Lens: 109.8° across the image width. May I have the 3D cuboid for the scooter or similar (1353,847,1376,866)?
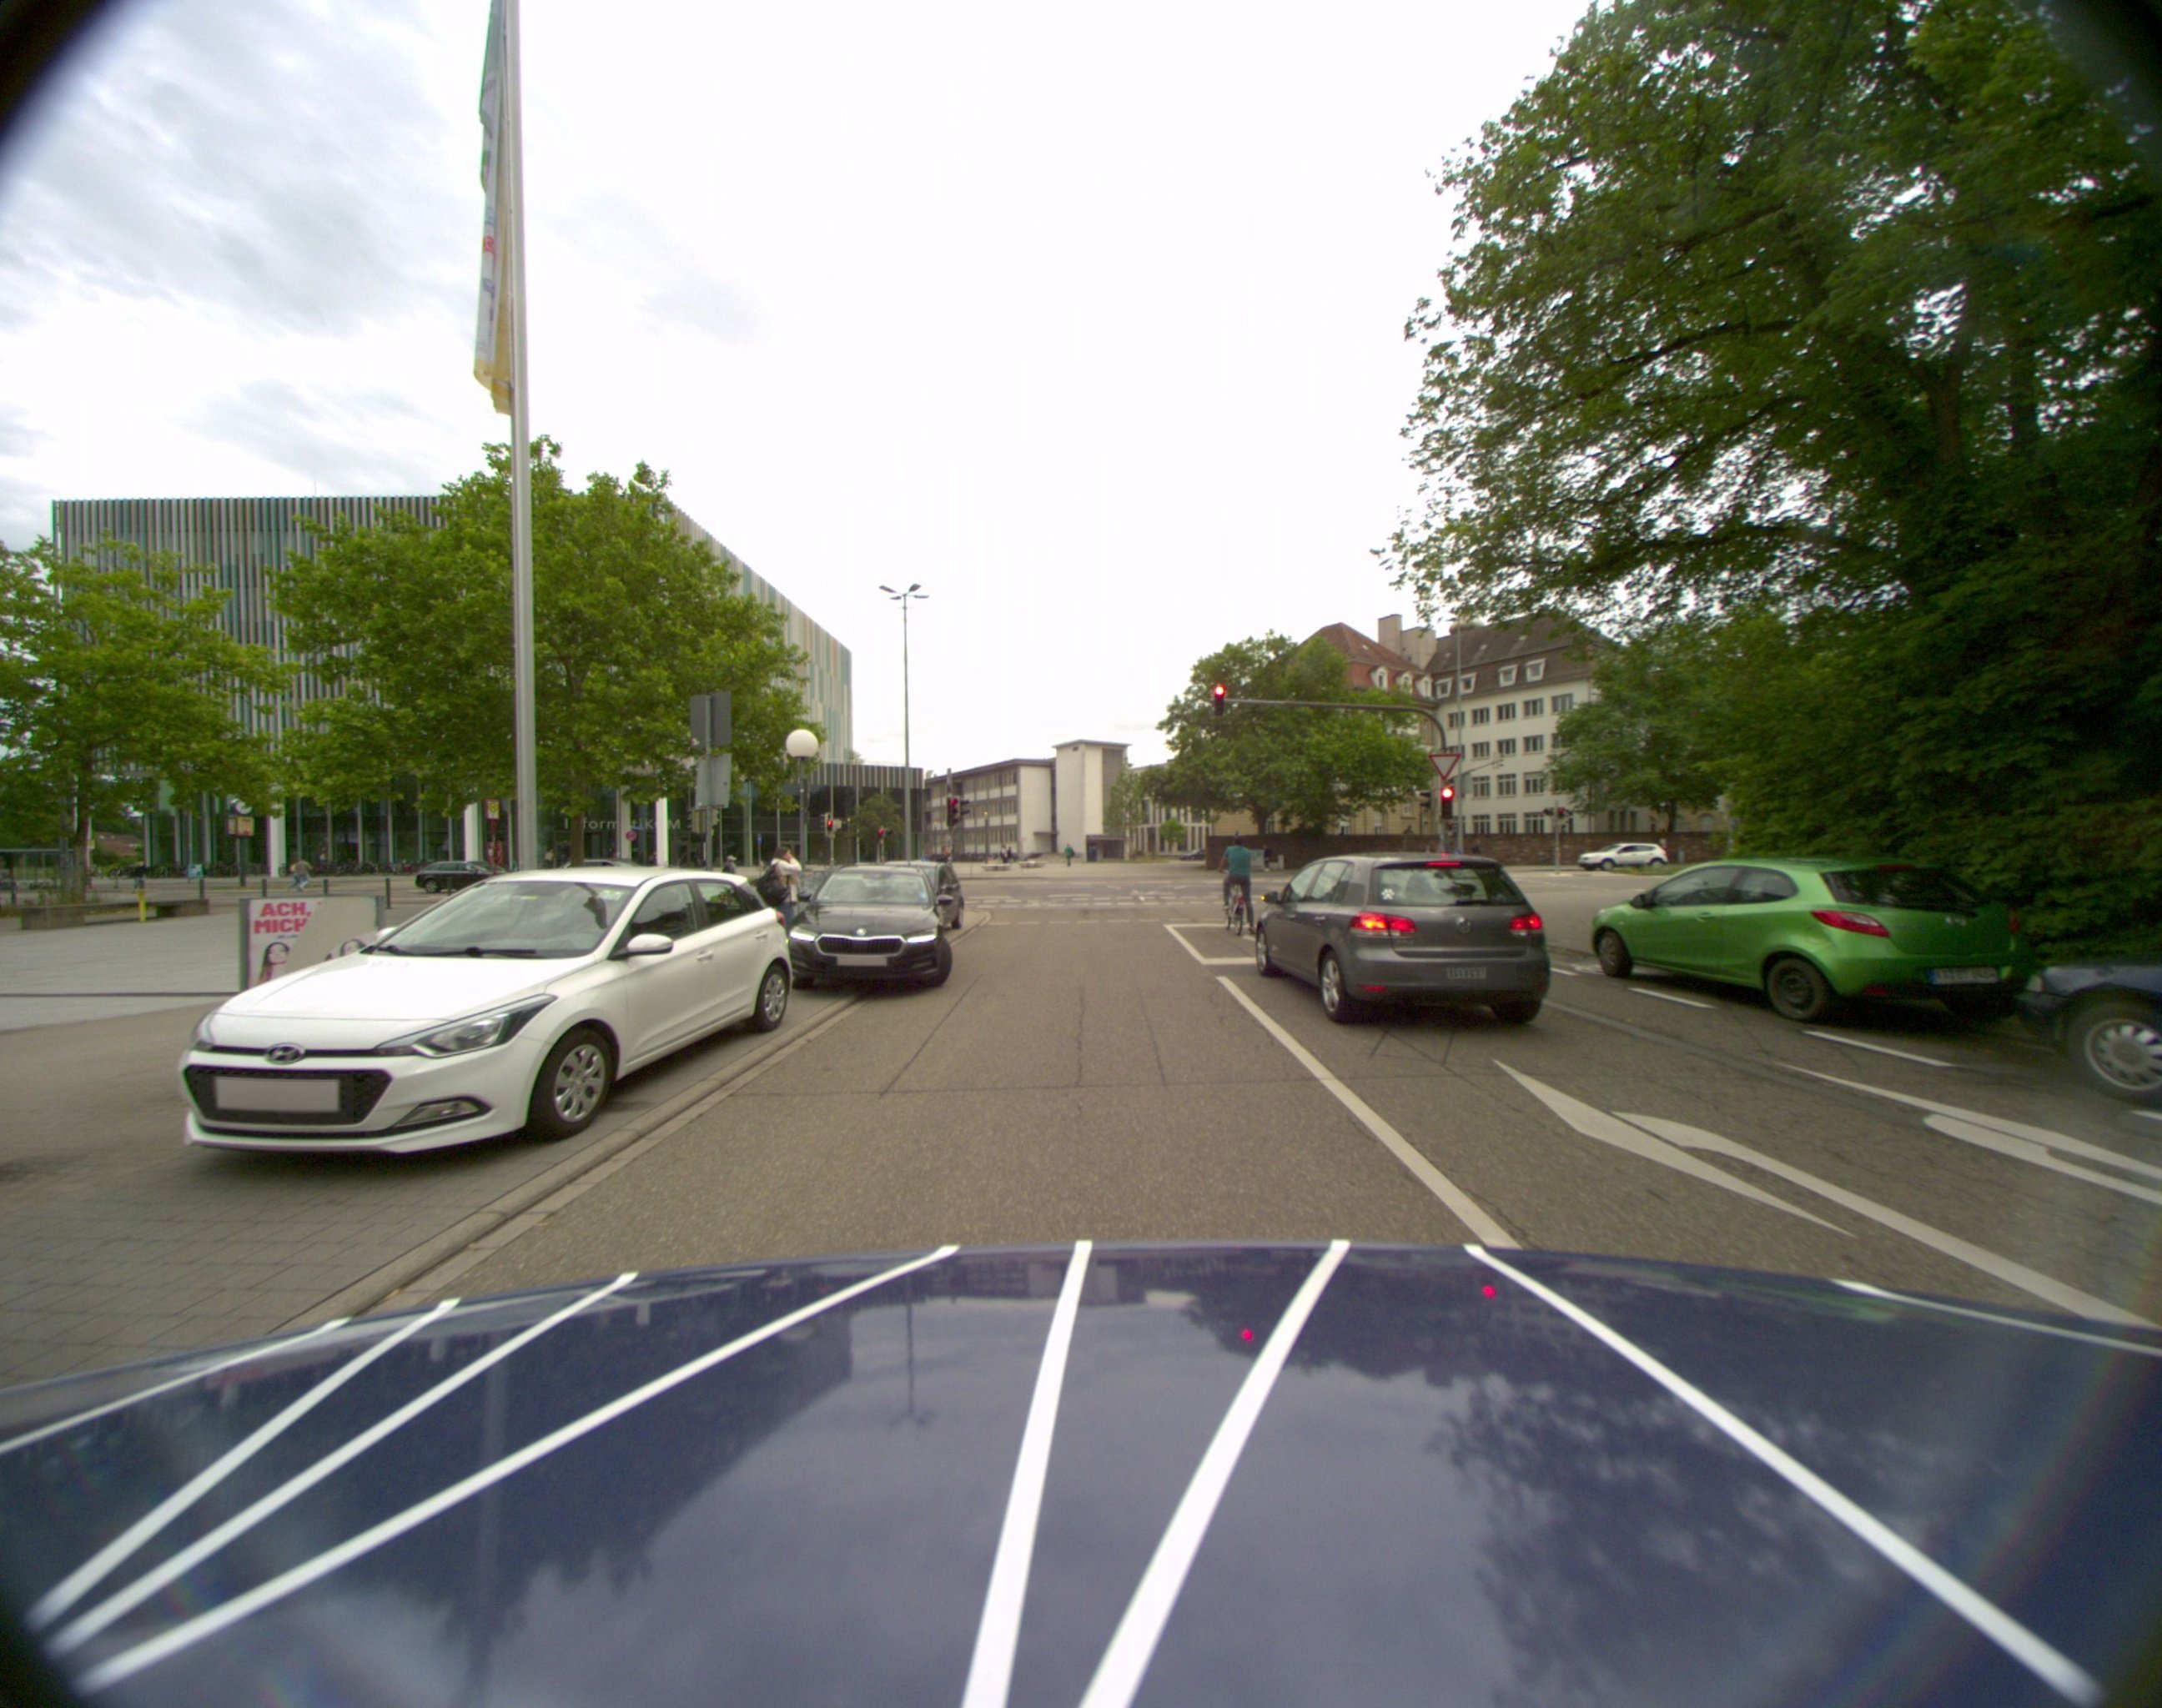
[{"bbox_3d":[19.053,0.166,51.077,1.410,1.223,0.496,0,3,20],"label":"scooter or similar"}]

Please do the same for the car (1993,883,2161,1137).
[{"bbox_3d":[6.953,0.925,2.942,1.801,1.400,4.337,0,1,4],"label":"car"}]

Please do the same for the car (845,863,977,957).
[{"bbox_3d":[-3.267,1.000,15.348,1.626,1.493,4.105,1,1,1],"label":"car"}]

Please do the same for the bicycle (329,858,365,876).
[{"bbox_3d":[-54.620,0.951,56.562,0.628,1.251,2.104,-1,1,-1],"label":"bicycle"}]

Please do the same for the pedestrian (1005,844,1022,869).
[{"bbox_3d":[-4.946,0.187,55.904,0.848,1.778,0.892,-2,1,-41],"label":"pedestrian"}]

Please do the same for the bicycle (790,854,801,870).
[{"bbox_3d":[-20.523,0.566,54.609,0.484,1.039,1.779,-1,2,-28],"label":"bicycle"}]

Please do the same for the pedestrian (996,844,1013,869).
[{"bbox_3d":[-5.581,0.170,55.432,0.848,1.778,0.892,-1,1,-42],"label":"pedestrian"}]

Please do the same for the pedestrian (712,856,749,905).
[{"bbox_3d":[-11.731,0.886,25.470,0.756,1.617,0.794,-1,1,15],"label":"pedestrian"}]

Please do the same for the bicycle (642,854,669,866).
[{"bbox_3d":[-32.730,0.448,58.473,0.483,0.920,1.919,0,1,18],"label":"bicycle"}]

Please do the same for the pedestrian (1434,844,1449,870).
[{"bbox_3d":[23.006,0.189,48.497,0.642,1.684,0.779,-1,2,6],"label":"pedestrian"}]

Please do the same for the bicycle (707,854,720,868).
[{"bbox_3d":[-28.262,0.555,58.417,0.485,1.039,1.911,-2,2,-38],"label":"bicycle"}]

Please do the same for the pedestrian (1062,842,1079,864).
[{"bbox_3d":[-0.814,-0.076,59.021,0.907,1.705,0.949,-2,2,-31],"label":"pedestrian"}]

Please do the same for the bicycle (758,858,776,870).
[{"bbox_3d":[-25.009,0.806,60.537,2.004,0.931,0.485,1,2,41],"label":"bicycle"}]

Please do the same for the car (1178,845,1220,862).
[{"bbox_3d":[13.745,-0.064,88.605,4.409,1.570,1.998,-2,-9,-33],"label":"car"}]

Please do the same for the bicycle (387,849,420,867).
[{"bbox_3d":[-50.749,0.322,56.963,0.628,1.251,2.105,-2,-2,-1],"label":"bicycle"}]

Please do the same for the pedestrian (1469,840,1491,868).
[{"bbox_3d":[25.946,-0.001,49.443,1.006,1.778,0.757,-1,1,0],"label":"pedestrian"}]

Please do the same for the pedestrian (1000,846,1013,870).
[{"bbox_3d":[-5.256,0.301,53.749,0.619,1.656,0.623,-2,1,-40],"label":"pedestrian"}]

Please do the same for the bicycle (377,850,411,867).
[{"bbox_3d":[-51.414,0.342,56.914,0.628,1.251,2.105,-2,-2,-1],"label":"bicycle"}]

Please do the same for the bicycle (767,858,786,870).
[{"bbox_3d":[-24.478,0.805,61.056,2.004,0.931,0.550,1,2,41],"label":"bicycle"}]

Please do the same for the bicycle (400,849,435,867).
[{"bbox_3d":[-49.793,0.294,57.044,0.628,1.251,2.106,-2,-2,6],"label":"bicycle"}]

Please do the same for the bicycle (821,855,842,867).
[{"bbox_3d":[-21.052,0.599,64.173,2.004,0.931,0.485,0,2,32],"label":"bicycle"}]

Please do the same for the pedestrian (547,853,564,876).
[{"bbox_3d":[-41.416,0.844,59.871,0.762,1.778,0.802,0,2,2],"label":"pedestrian"}]

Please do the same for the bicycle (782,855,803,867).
[{"bbox_3d":[-23.344,0.541,61.467,2.004,0.931,0.485,0,2,32],"label":"bicycle"}]

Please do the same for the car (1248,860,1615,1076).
[{"bbox_3d":[3.006,0.849,7.619,1.787,1.488,4.167,0,1,1],"label":"car"}]

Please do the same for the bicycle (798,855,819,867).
[{"bbox_3d":[-22.385,0.540,62.418,2.004,0.931,0.485,0,2,32],"label":"bicycle"}]

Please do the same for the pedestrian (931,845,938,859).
[{"bbox_3d":[-19.274,-0.296,100.132,0.777,1.779,0.760,-1,1,-24],"label":"pedestrian"}]

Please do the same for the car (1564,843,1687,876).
[{"bbox_3d":[30.850,0.343,43.189,5.368,1.687,2.049,-2,-2,4],"label":"car"}]

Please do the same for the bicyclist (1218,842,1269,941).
[{"bbox_3d":[3.011,0.671,14.145,0.659,1.769,0.983,-1,1,-7],"label":"bicyclist"}]

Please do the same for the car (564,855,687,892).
[{"bbox_3d":[-20.522,0.855,34.383,4.289,1.481,2.000,-1,1,0],"label":"car"}]

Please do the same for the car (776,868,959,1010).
[{"bbox_3d":[-2.785,0.959,10.360,1.867,1.393,4.473,2,0,-13],"label":"car"}]

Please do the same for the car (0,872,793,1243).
[{"bbox_3d":[-3.657,0.920,5.171,1.865,1.444,3.858,-1,1,1],"label":"car"}]

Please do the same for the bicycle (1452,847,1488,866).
[{"bbox_3d":[26.249,0.166,51.296,2.156,1.178,0.582,-1,3,-8],"label":"bicycle"}]

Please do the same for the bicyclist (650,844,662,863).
[{"bbox_3d":[-32.729,-0.066,58.528,0.483,1.460,0.606,0,2,18],"label":"bicyclist"}]

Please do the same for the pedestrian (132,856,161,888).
[{"bbox_3d":[-53.166,1.002,43.228,0.588,1.799,0.809,0,1,5],"label":"pedestrian"}]

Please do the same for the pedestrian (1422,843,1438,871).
[{"bbox_3d":[22.292,0.187,48.548,0.670,1.729,0.735,-1,2,-2],"label":"pedestrian"}]

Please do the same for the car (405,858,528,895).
[{"bbox_3d":[-28.139,1.010,34.858,3.996,1.445,2.000,-2,2,3],"label":"car"}]

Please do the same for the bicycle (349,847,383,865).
[{"bbox_3d":[-53.536,0.139,56.908,0.628,1.251,2.105,-2,-2,-1],"label":"bicycle"}]

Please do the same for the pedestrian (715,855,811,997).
[{"bbox_3d":[-4.179,0.910,10.025,0.792,1.777,0.822,0,1,13],"label":"pedestrian"}]

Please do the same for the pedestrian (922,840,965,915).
[{"bbox_3d":[-3.645,0.600,20.105,0.791,1.941,0.759,0,1,28],"label":"pedestrian"}]

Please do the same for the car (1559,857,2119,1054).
[{"bbox_3d":[7.233,0.806,8.054,1.802,1.461,4.248,0,1,2],"label":"car"}]

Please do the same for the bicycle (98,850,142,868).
[{"bbox_3d":[-71.401,0.378,56.476,0.628,1.251,2.105,-2,-2,-1],"label":"bicycle"}]

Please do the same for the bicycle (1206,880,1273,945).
[{"bbox_3d":[2.884,1.040,13.987,0.659,1.032,1.856,-1,1,-7],"label":"bicycle"}]

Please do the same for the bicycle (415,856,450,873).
[{"bbox_3d":[-48.633,0.811,57.013,0.628,1.251,2.106,-2,-2,6],"label":"bicycle"}]

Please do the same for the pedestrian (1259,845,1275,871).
[{"bbox_3d":[12.214,0.268,49.837,0.808,1.654,0.791,-2,-1,1],"label":"pedestrian"}]
